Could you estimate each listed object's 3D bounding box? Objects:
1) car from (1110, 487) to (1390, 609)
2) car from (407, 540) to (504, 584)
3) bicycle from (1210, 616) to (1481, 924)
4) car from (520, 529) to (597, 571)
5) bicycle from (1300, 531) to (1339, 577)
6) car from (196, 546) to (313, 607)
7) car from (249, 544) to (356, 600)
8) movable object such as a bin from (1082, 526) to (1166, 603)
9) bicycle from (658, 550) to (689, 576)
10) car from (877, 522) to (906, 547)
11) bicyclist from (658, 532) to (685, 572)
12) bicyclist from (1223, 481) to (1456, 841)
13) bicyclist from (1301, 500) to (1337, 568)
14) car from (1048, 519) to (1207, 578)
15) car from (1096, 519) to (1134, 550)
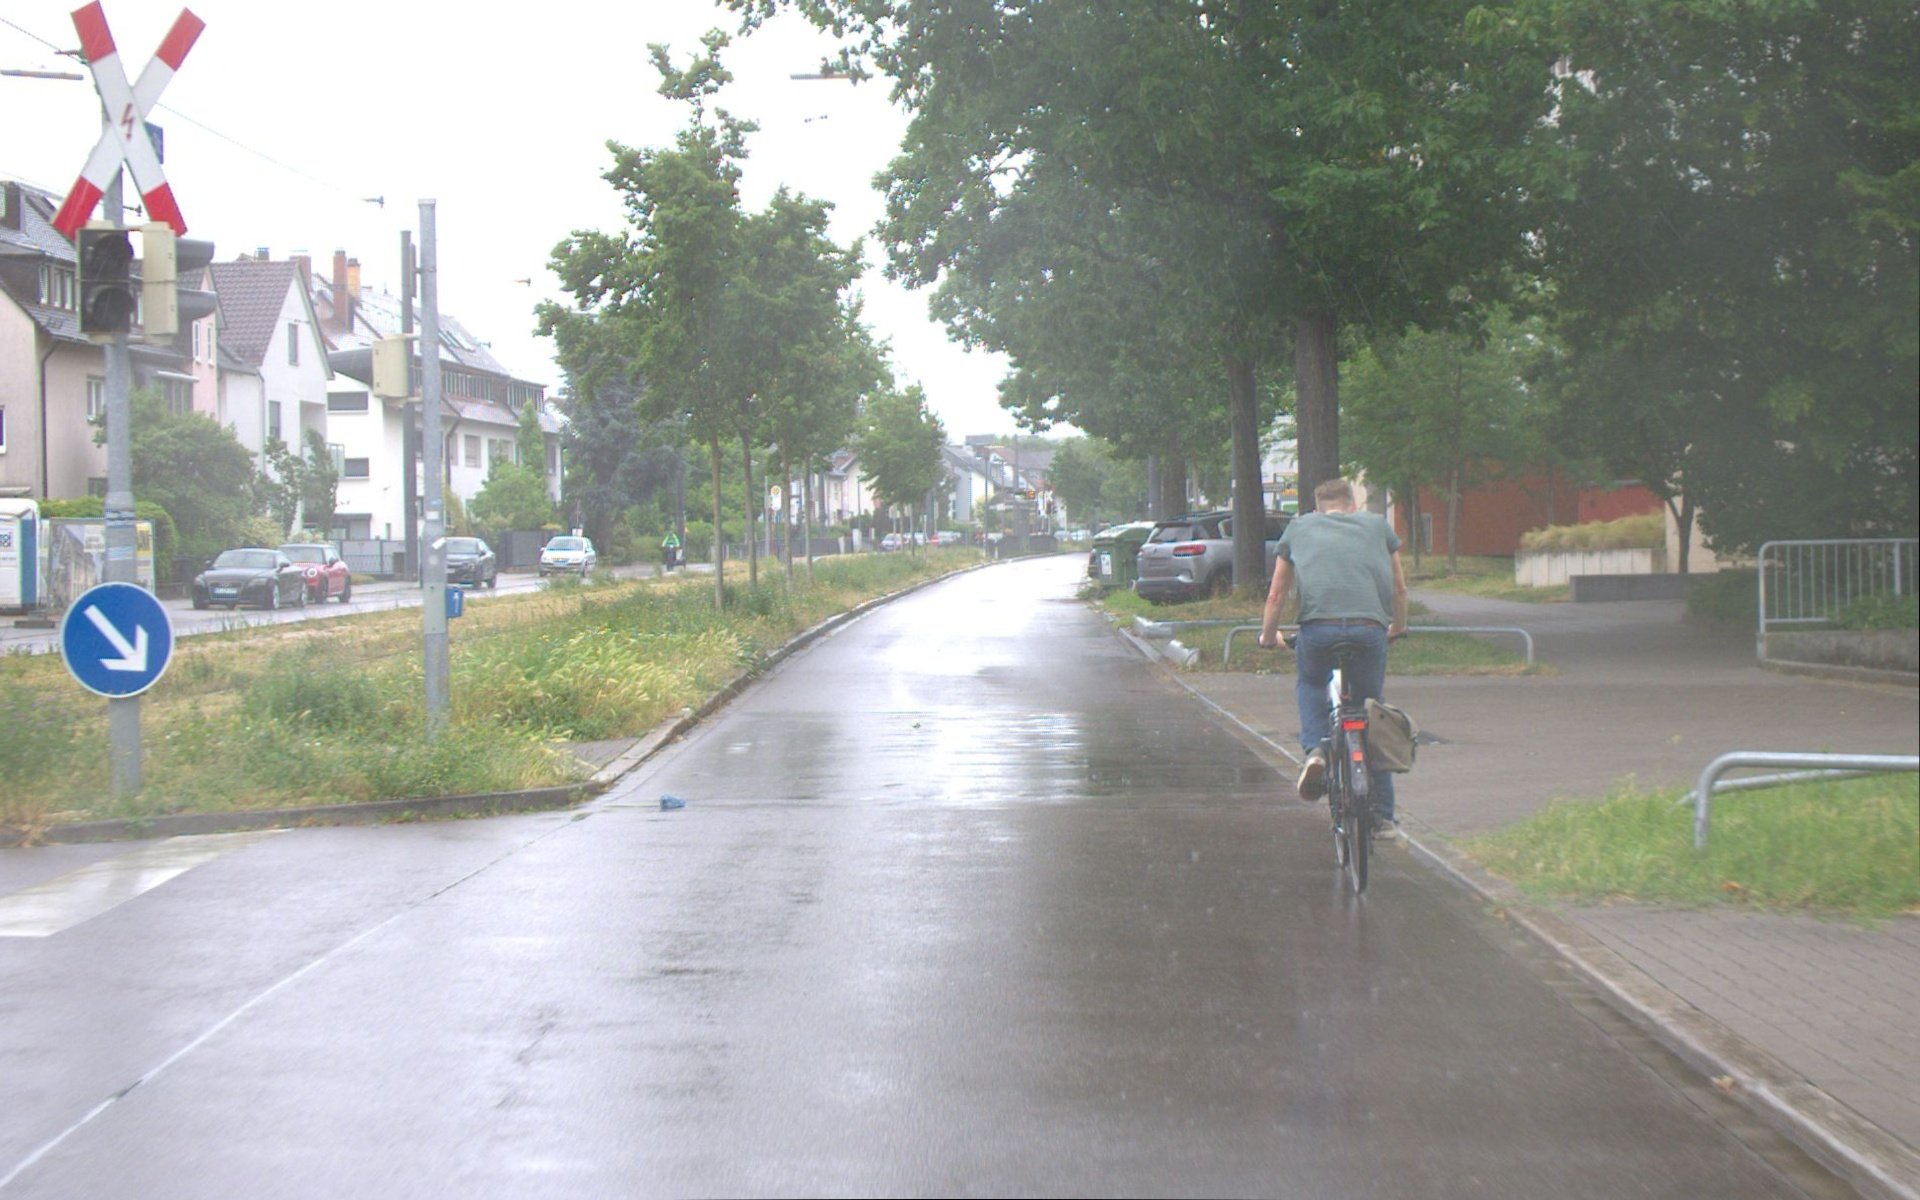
[{"bbox_3d":[4.797,-0.872,56.757,4.135,1.713,2.000,-5,3,-31],"label":"car"},{"bbox_3d":[-15.060,-1.155,102.875,1.897,1.240,4.687,1,1,4],"label":"car"},{"bbox_3d":[1.568,0.657,14.419,0.809,1.093,2.517,-2,1,0],"label":"bicycle"},{"bbox_3d":[-14.567,-1.830,125.030,1.897,1.464,4.687,1,1,4],"label":"car"},{"bbox_3d":[8.536,-1.097,81.673,0.734,1.053,2.051,-1,1,1],"label":"bicycle"},{"bbox_3d":[-15.752,-0.544,76.901,1.663,1.240,4.071,1,1,1],"label":"car"},{"bbox_3d":[-15.690,-0.683,82.165,1.674,1.240,3.855,1,1,2],"label":"car"},{"bbox_3d":[3.336,-0.729,70.232,1.125,1.452,1.401,-7,3,-19],"label":"movable object such as a bin"},{"bbox_3d":[-12.303,-1.598,147.725,1.018,1.024,3.197,-1,1,1],"label":"bicycle"},{"bbox_3d":[-4.843,-4.656,243.577,1.843,1.666,4.000,-1,1,2],"label":"car"},{"bbox_3d":[-12.333,-2.051,147.102,1.018,1.679,1.092,-1,1,1],"label":"bicyclist"},{"bbox_3d":[1.565,0.235,14.338,0.809,1.428,1.060,-2,1,-1],"label":"bicyclist"},{"bbox_3d":[8.541,-1.575,81.762,0.734,1.588,0.944,-1,1,1],"label":"bicyclist"},{"bbox_3d":[4.432,-1.359,90.496,4.028,1.438,1.585,-2,1,-35],"label":"car"},{"bbox_3d":[7.987,-3.398,177.555,1.833,1.580,4.000,-1,1,2],"label":"car"}]
